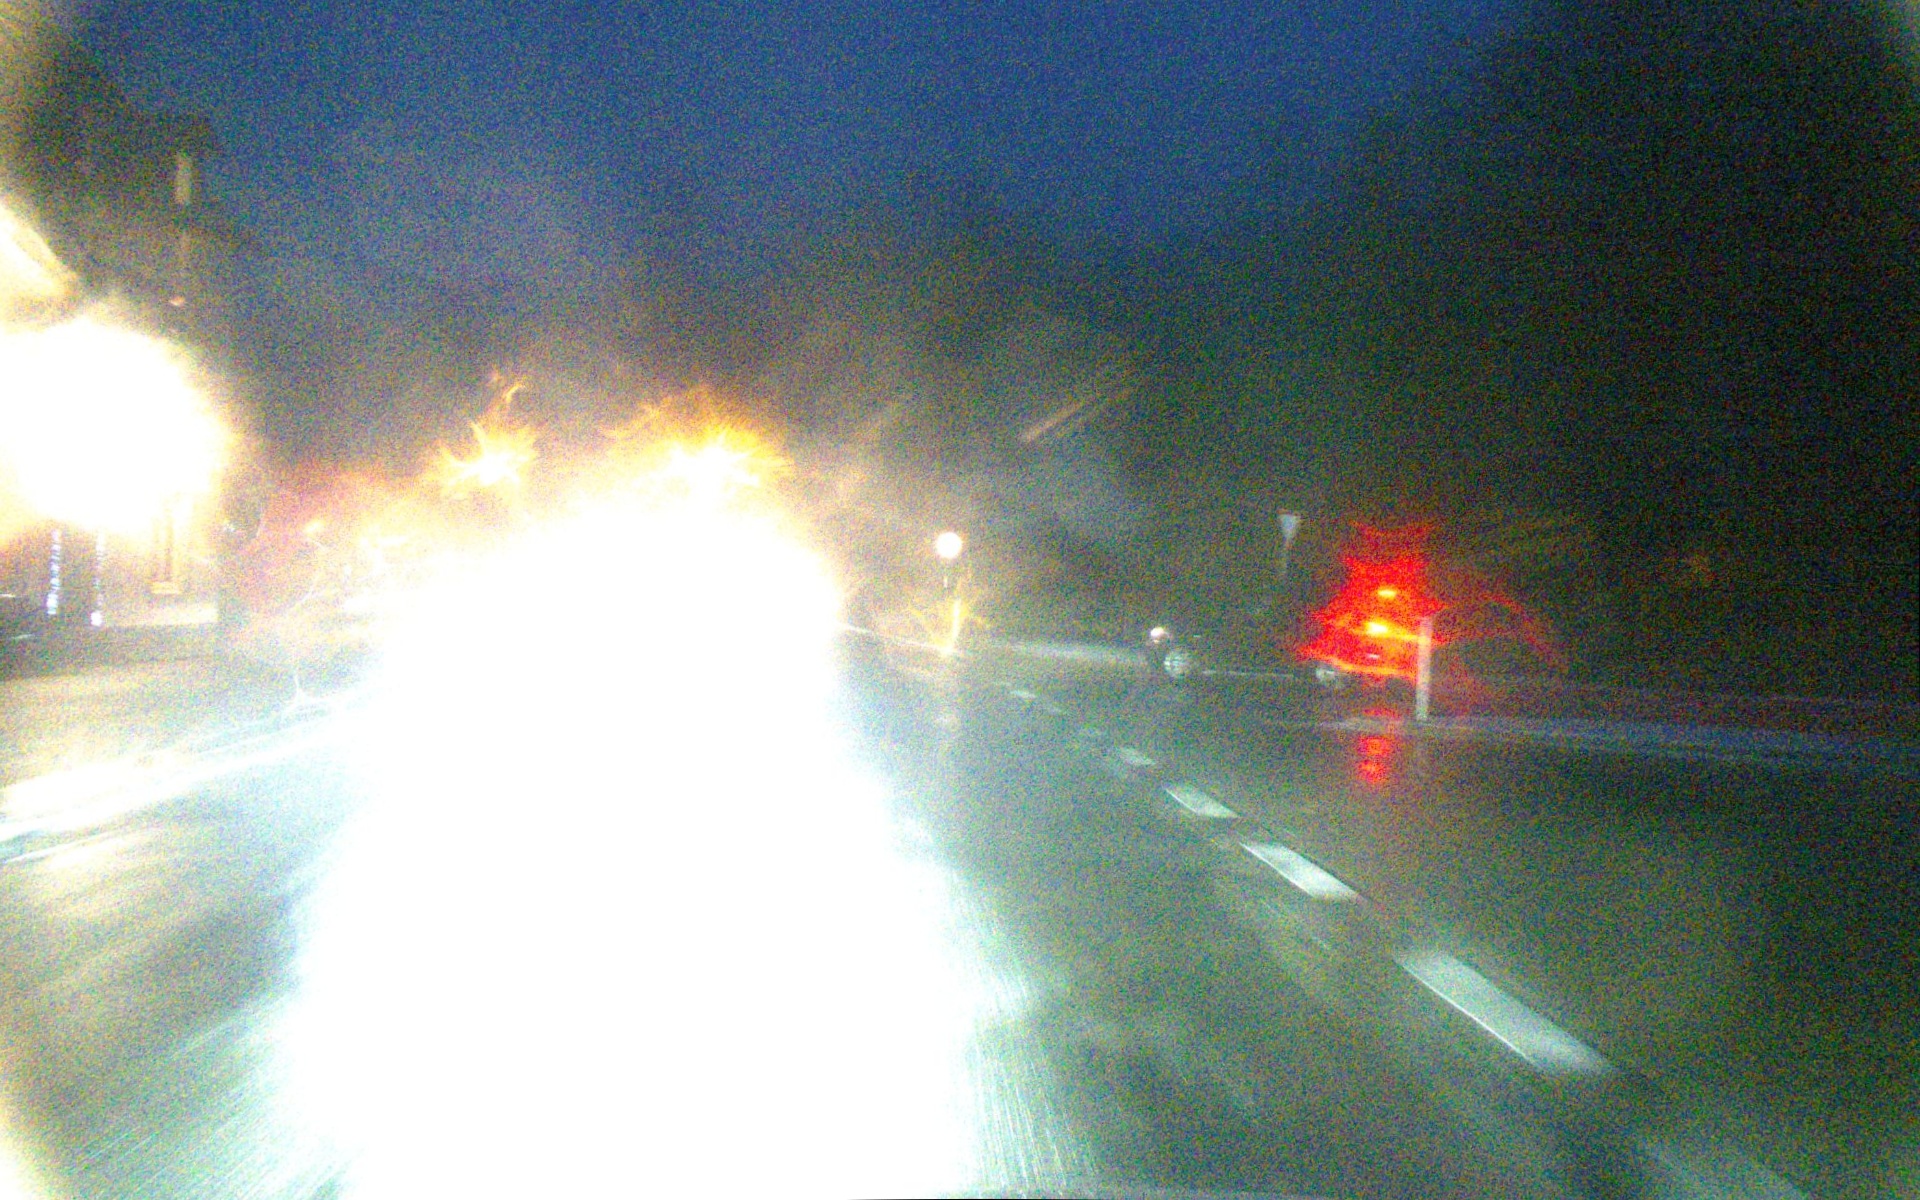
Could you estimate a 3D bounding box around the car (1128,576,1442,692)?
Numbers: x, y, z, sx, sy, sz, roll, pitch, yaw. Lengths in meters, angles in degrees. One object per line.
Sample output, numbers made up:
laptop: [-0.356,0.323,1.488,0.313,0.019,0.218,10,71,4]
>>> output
car: [5.278,0.522,27.143,4.683,1.721,1.952,1,-1,38]

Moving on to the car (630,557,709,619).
car: [-13.591,-0.599,77.048,2.504,2.540,5.678,0,4,-22]

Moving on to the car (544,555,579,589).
car: [-25.398,-1.755,105.437,1.958,2.049,3.988,2,-1,-11]

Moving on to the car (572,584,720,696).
car: [-4.801,0.597,25.826,1.919,1.549,4.392,2,-1,-7]

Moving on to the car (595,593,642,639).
car: [-12.811,0.573,62.091,1.666,1.627,3.790,0,1,-12]

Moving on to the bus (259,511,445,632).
bus: [-22.361,-1.078,60.136,2.871,3.936,12.891,1,1,-36]

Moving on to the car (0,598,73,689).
car: [-16.233,0.737,26.143,1.652,1.422,4.154,-2,1,10]
